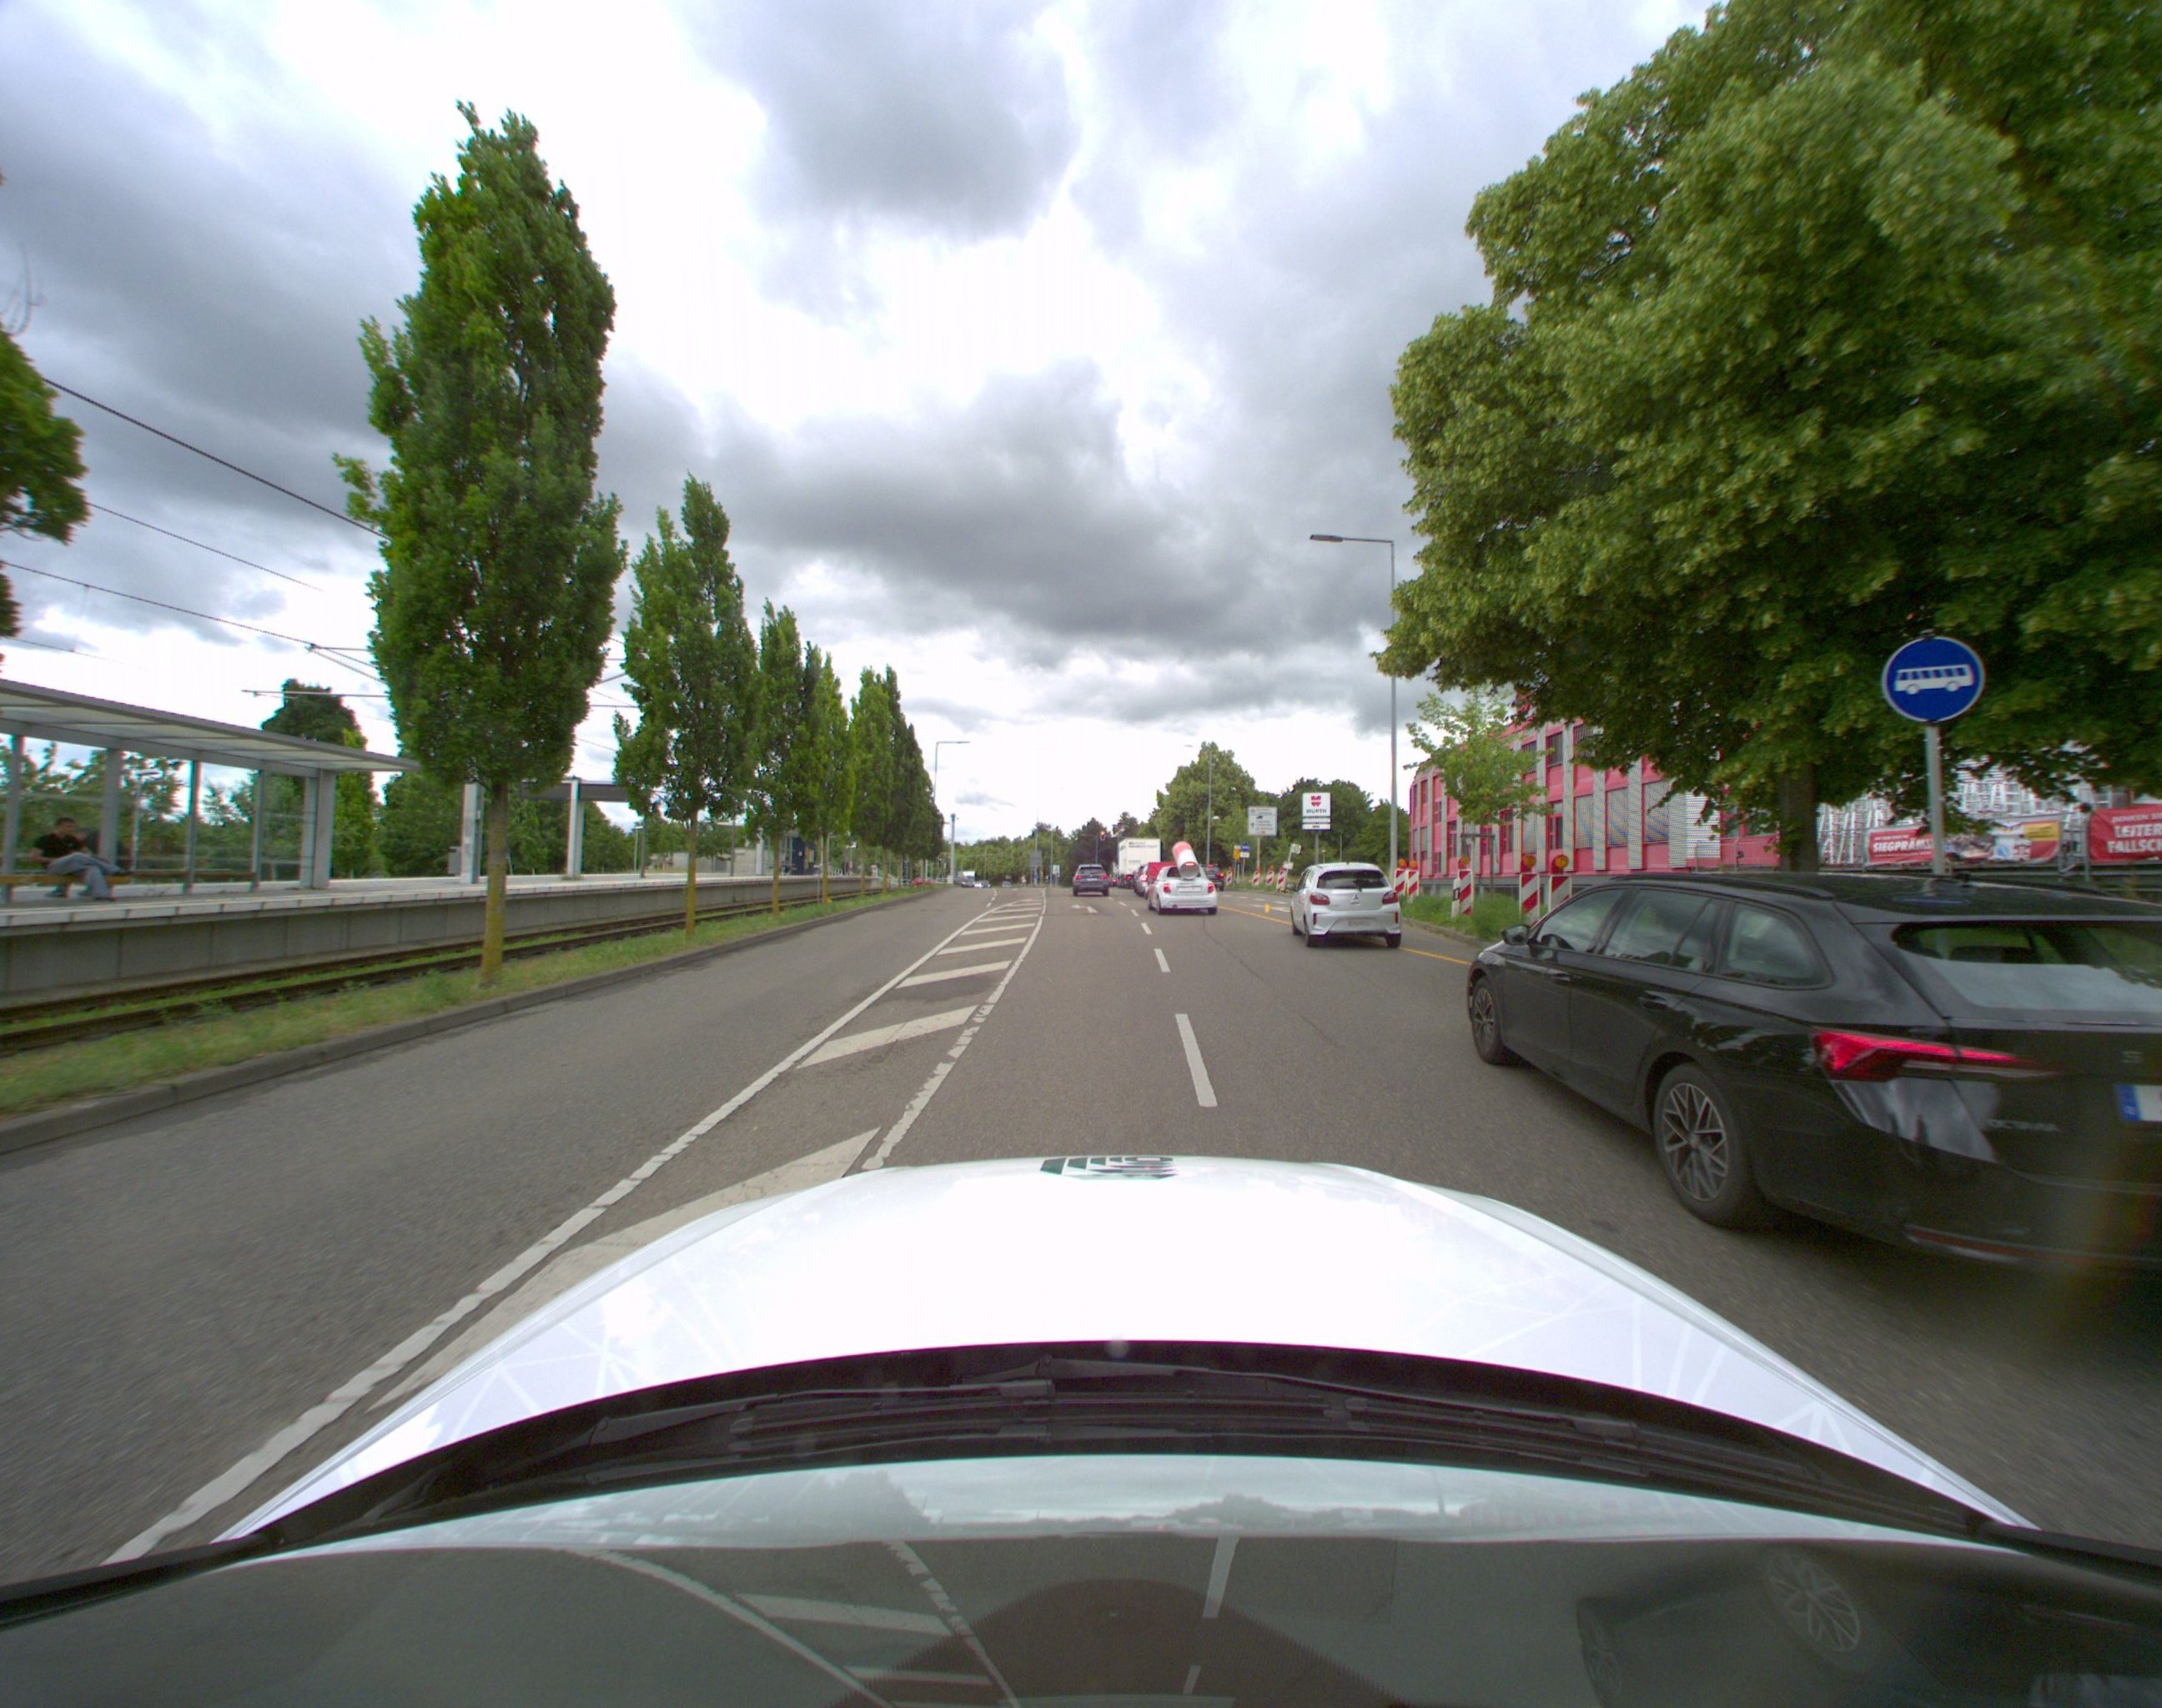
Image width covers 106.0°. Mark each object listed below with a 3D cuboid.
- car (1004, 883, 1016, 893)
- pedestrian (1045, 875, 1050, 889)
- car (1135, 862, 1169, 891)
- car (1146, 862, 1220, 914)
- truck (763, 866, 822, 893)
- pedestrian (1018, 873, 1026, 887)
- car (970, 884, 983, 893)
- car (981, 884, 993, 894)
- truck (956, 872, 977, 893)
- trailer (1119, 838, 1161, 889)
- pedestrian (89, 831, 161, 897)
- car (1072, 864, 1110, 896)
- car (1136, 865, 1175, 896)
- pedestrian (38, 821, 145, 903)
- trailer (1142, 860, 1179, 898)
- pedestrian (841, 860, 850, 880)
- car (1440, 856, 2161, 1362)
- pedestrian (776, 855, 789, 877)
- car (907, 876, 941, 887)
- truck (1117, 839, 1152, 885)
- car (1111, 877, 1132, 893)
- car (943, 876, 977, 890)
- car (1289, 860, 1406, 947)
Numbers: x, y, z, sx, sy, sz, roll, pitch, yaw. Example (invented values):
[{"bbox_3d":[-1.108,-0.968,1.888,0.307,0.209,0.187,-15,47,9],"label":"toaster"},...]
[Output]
[{"bbox_3d":[-12.897,6.147,148.576,1.910,1.576,3.999,-1,0,-1],"label":"car"},{"bbox_3d":[-4.026,3.389,97.699,0.585,1.621,0.422,0,0,-4],"label":"pedestrian"},{"bbox_3d":[4.022,1.272,46.659,1.836,1.561,4.408,-1,-1,4],"label":"car"},{"bbox_3d":[3.030,1.004,24.843,1.714,1.457,3.694,0,-2,-1],"label":"car"},{"bbox_3d":[-40.202,3.577,113.749,7.212,3.598,2.693,0,0,1],"label":"truck"},{"bbox_3d":[-6.903,3.051,95.480,0.862,1.560,0.517,0,0,-4],"label":"pedestrian"},{"bbox_3d":[-18.897,6.250,147.691,1.770,1.508,3.746,-3,0,0],"label":"car"},{"bbox_3d":[-17.850,6.711,154.946,1.912,1.729,3.993,0,-6,-3],"label":"car"},{"bbox_3d":[-22.052,5.466,156.256,2.665,3.649,9.452,2,-1,-15],"label":"truck"},{"bbox_3d":[4.466,0.656,63.109,2.558,3.705,7.760,0,0,-1],"label":"trailer"},{"bbox_3d":[-15.780,0.163,13.452,0.605,1.079,0.470,0,0,-3],"label":"pedestrian"},{"bbox_3d":[0.450,1.265,40.292,1.694,1.486,3.996,0,-1,-3],"label":"car"},{"bbox_3d":[3.560,1.273,39.535,1.665,1.448,4.490,0,-2,2],"label":"car"},{"bbox_3d":[-14.940,0.116,12.310,0.759,1.199,0.665,0,-1,-3],"label":"pedestrian"},{"bbox_3d":[3.442,1.091,35.626,1.404,1.594,3.304,0,-1,1],"label":"trailer"},{"bbox_3d":[-21.254,1.468,73.450,0.571,1.828,0.791,0,-3,-6],"label":"pedestrian"},{"bbox_3d":[3.579,0.748,4.453,1.826,1.432,4.288,-1,0,8],"label":"car"},{"bbox_3d":[-17.714,0.722,48.366,0.609,1.269,0.658,0,0,-7],"label":"pedestrian"},{"bbox_3d":[-20.521,3.626,106.731,4.037,1.488,1.717,-1,-3,22],"label":"car"},{"bbox_3d":[4.389,0.651,67.084,2.563,3.705,4.104,0,0,-1],"label":"truck"},{"bbox_3d":[3.765,2.916,76.396,1.805,1.354,4.118,-2,-1,1],"label":"car"},{"bbox_3d":[-15.029,3.587,101.170,3.672,1.574,1.735,1,-3,9],"label":"car"},{"bbox_3d":[4.950,0.842,15.548,1.613,1.457,3.699,0,-1,10],"label":"car"}]
